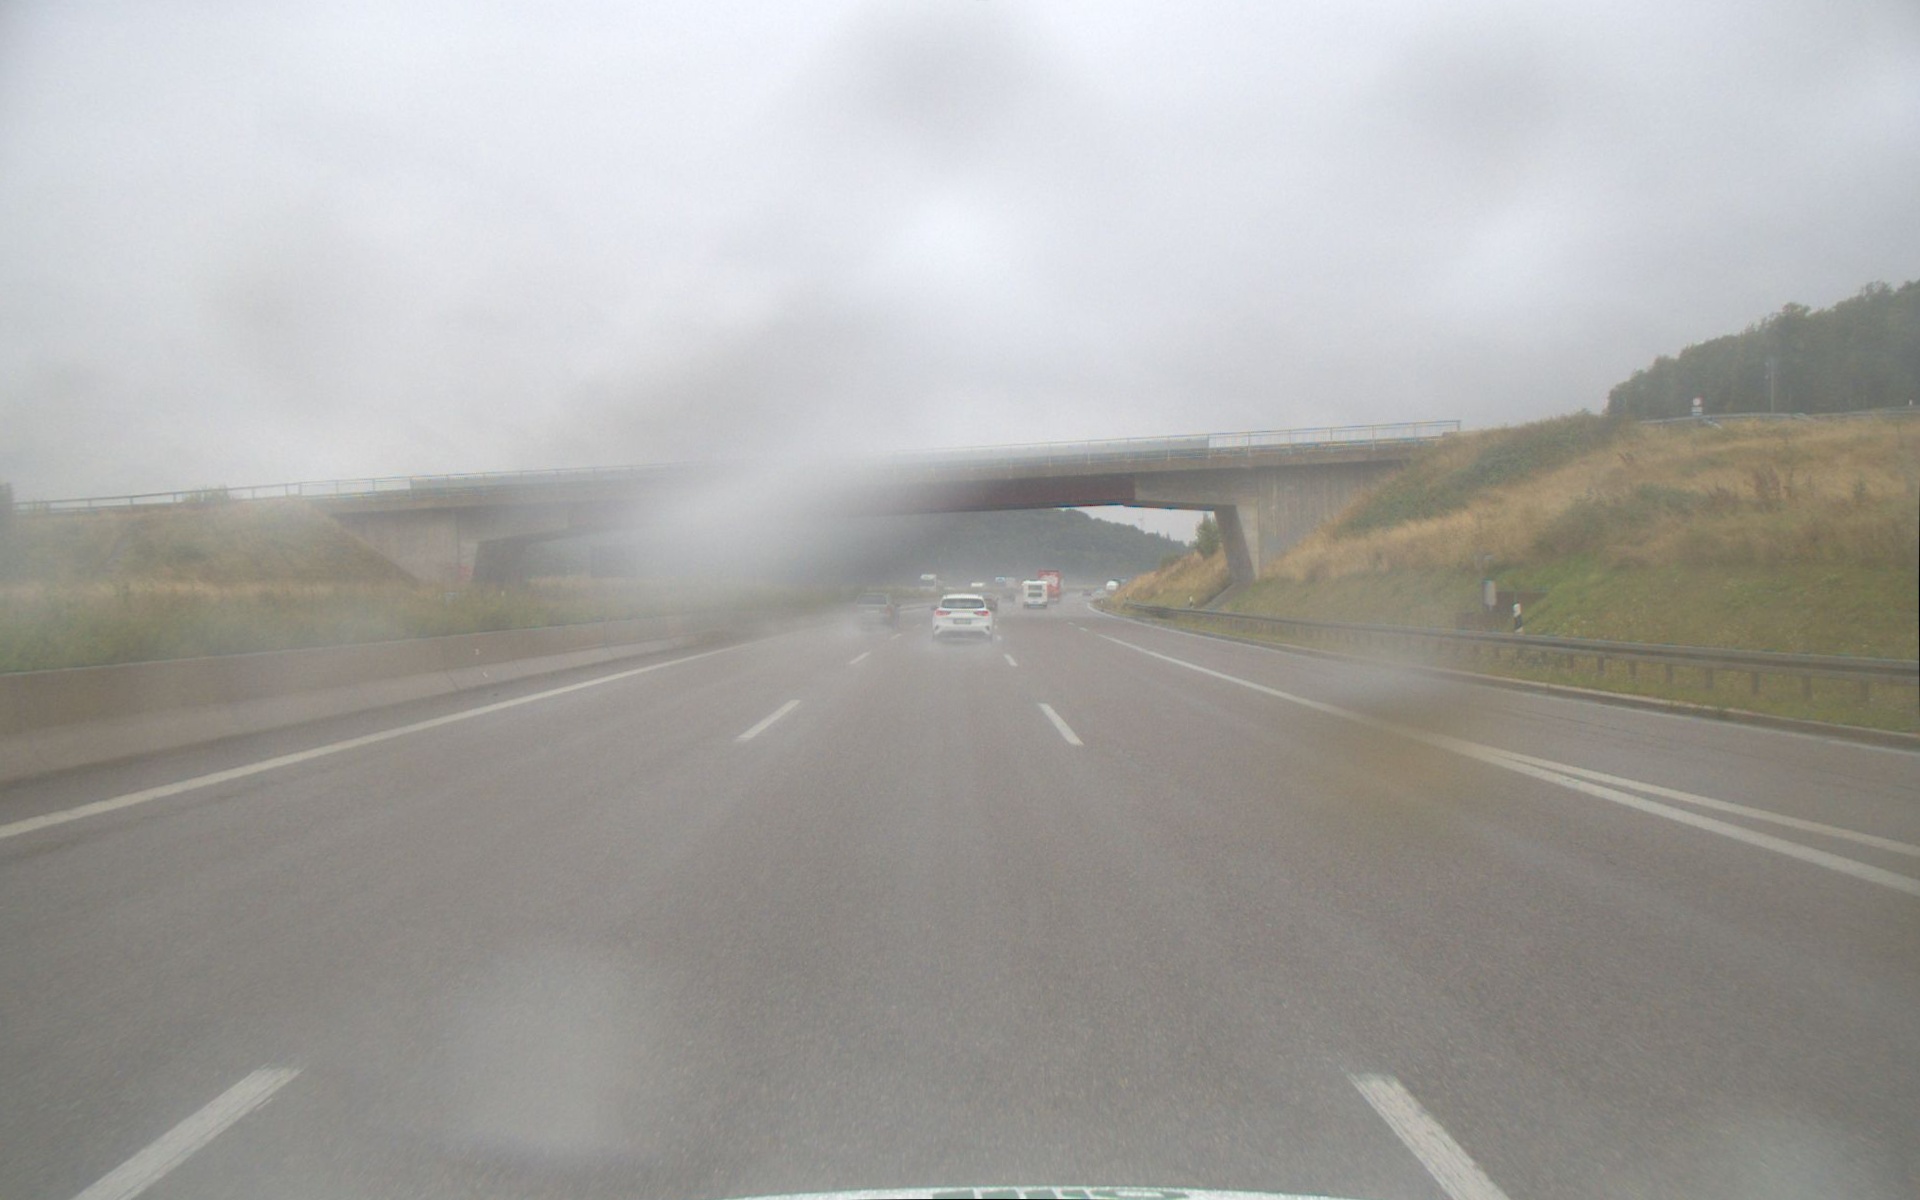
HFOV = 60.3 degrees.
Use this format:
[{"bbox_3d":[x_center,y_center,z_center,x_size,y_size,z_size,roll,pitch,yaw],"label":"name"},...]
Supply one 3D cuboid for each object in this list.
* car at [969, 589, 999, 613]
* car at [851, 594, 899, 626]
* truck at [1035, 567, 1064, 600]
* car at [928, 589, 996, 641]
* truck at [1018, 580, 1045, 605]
[{"bbox_3d":[1.732,0.031,116.170,1.952,1.646,4.002,0,0,3],"label":"car"},{"bbox_3d":[-3.328,0.406,65.355,1.787,1.177,4.211,1,-1,-2],"label":"car"},{"bbox_3d":[11.036,-2.115,204.962,3.454,3.808,11.430,1,1,2],"label":"truck"},{"bbox_3d":[0.021,0.433,49.700,1.830,1.488,3.998,0,0,-3],"label":"car"},{"bbox_3d":[6.643,-0.666,153.223,2.357,2.291,4.696,0,0,5],"label":"truck"}]
